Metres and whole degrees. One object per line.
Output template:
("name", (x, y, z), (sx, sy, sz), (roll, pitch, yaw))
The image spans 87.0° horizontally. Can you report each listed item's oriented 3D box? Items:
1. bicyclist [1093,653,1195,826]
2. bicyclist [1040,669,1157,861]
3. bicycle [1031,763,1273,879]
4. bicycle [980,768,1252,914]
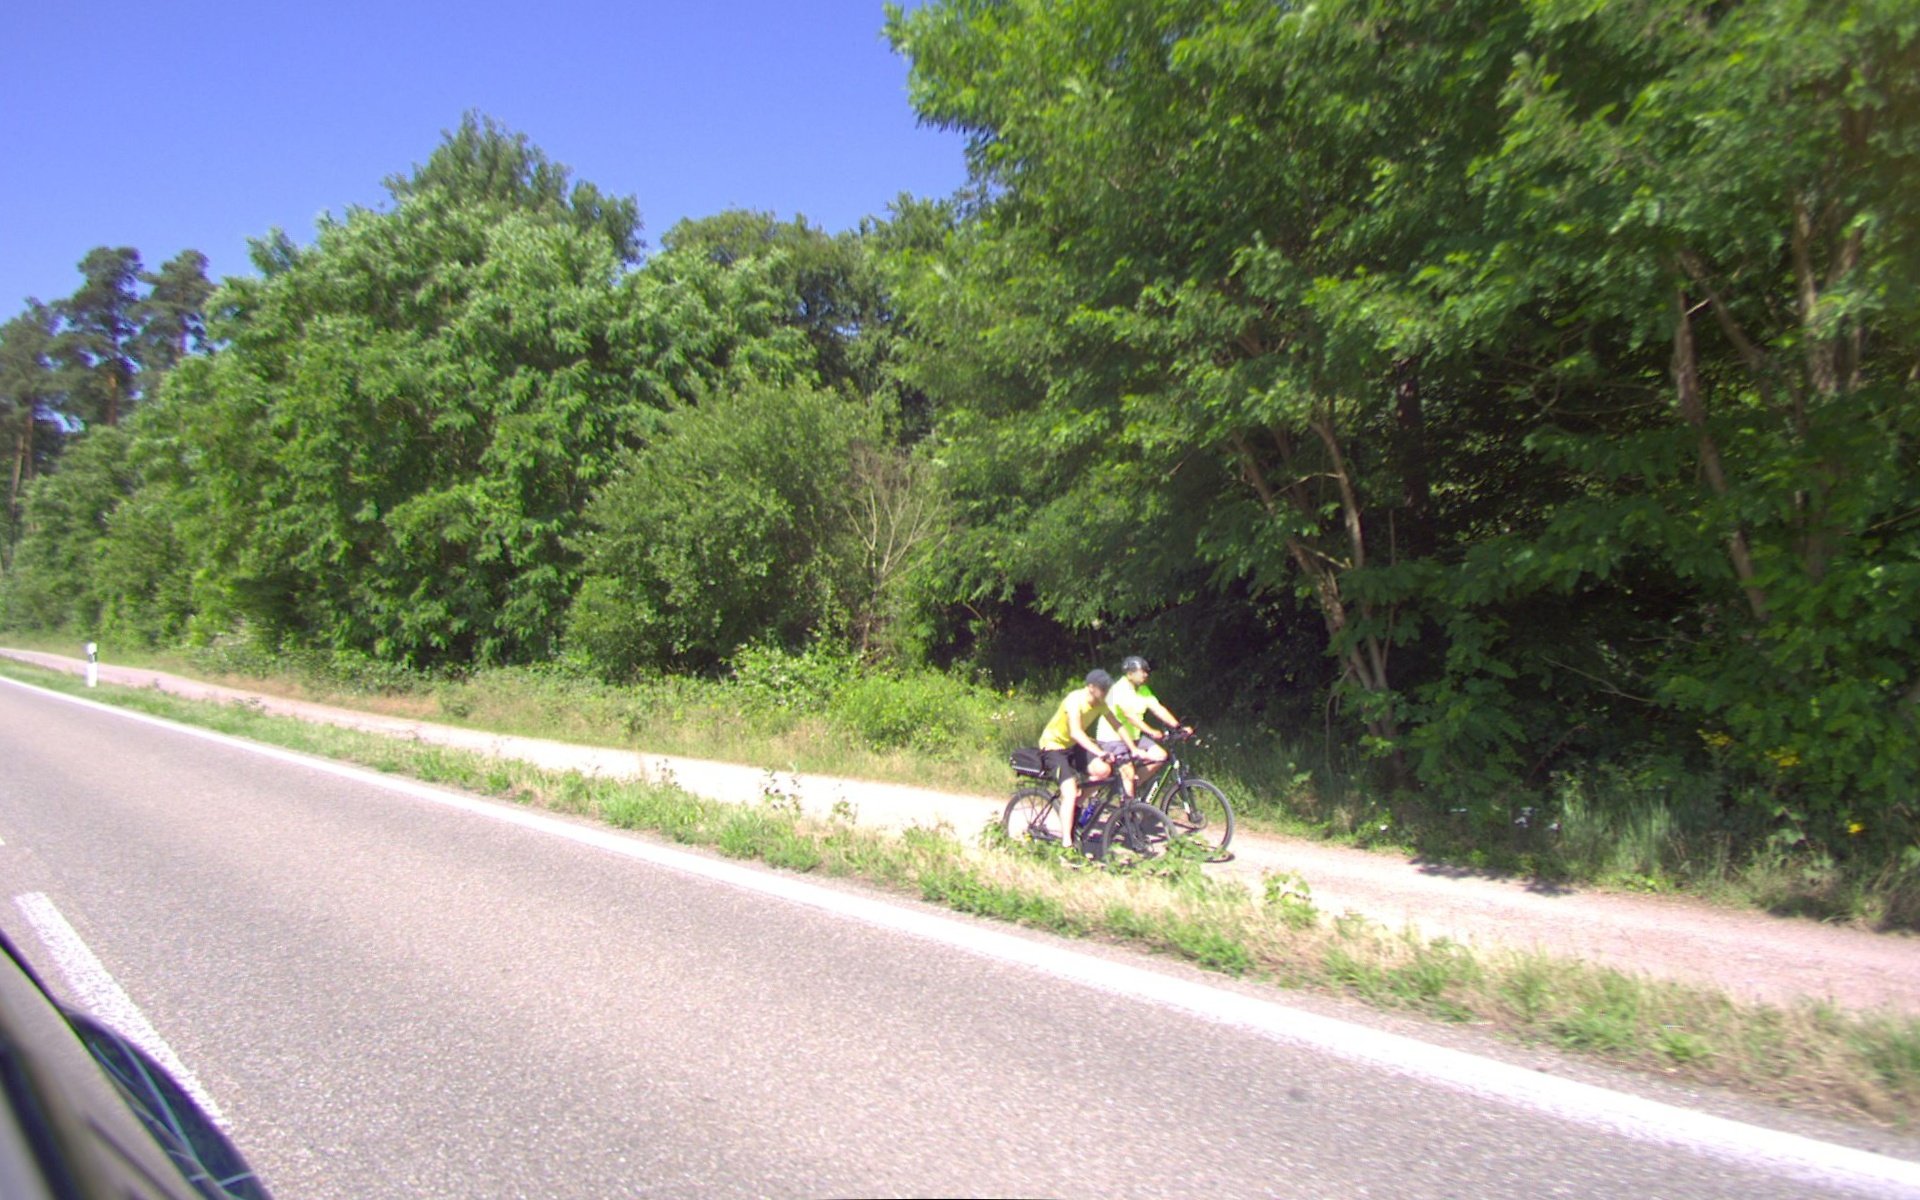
("bicyclist", (1.669, 1.228, 9.177), (0.702, 1.426, 0.599), (1, 1, 41))
("bicyclist", (1.118, 1.287, 8.144), (0.702, 1.426, 0.598), (-2, -5, 41))
("bicycle", (1.684, 1.945, 9.174), (2.136, 0.686, 0.612), (-2, -1, 41))
("bicycle", (1.180, 1.849, 8.059), (2.136, 0.794, 0.633), (-2, -5, 41))
